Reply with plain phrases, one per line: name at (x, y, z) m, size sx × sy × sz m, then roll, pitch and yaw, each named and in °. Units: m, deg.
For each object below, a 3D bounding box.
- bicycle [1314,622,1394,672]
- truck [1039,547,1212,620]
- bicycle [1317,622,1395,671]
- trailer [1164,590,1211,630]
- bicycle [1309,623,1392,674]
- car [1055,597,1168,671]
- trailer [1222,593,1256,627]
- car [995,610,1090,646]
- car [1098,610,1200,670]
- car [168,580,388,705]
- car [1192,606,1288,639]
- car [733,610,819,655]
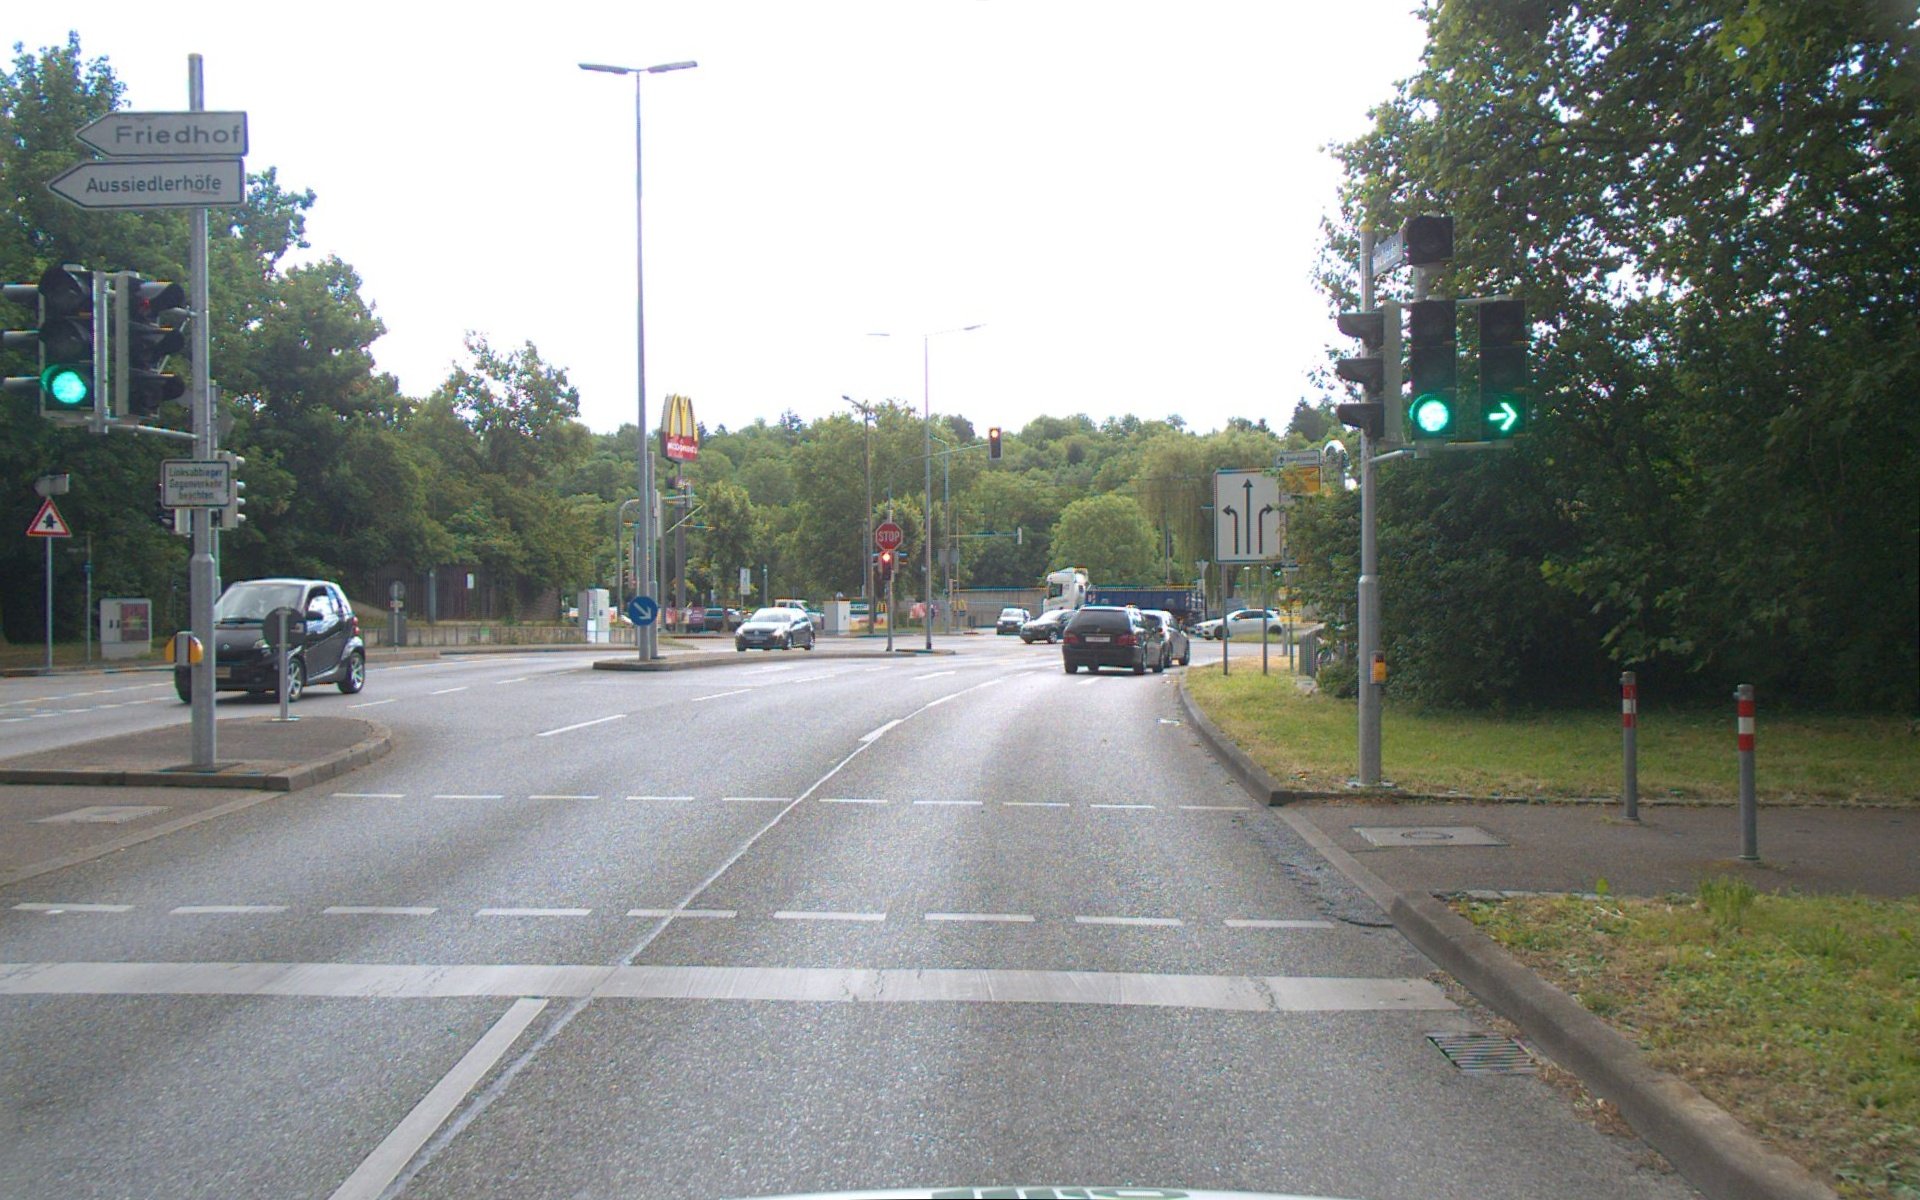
bicycle at (9.019, 1.080, 37.870) m, size 1.741 × 1.130 × 0.455 m, roll 0°, pitch -2°, yaw 17°
truck at (9.100, -0.824, 91.294) m, size 8.916 × 3.651 × 3.218 m, roll -2°, pitch -2°, yaw 24°
bicycle at (9.236, 1.089, 38.594) m, size 1.740 × 1.130 × 0.580 m, roll 0°, pitch -1°, yaw 12°
trailer at (15.571, 0.687, 112.983) m, size 2.303 × 2.628 × 4.921 m, roll -2°, pitch -2°, yaw 19°
bicycle at (8.746, 1.089, 37.077) m, size 1.745 × 1.130 × 0.425 m, roll -1°, pitch -2°, yaw 30°
car at (3.495, 0.807, 37.414) m, size 1.784 × 1.536 × 4.577 m, roll 1°, pitch -2°, yaw 15°
trailer at (19.366, 0.713, 114.651) m, size 1.951 × 2.222 × 4.003 m, roll -2°, pitch -1°, yaw 15°
car at (3.583, 1.208, 71.598) m, size 3.833 × 1.441 × 1.609 m, roll -1°, pitch -1°, yaw -25°
car at (5.236, 1.070, 45.390) m, size 1.691 × 1.557 × 4.148 m, roll -1°, pitch 0°, yaw 22°
car at (-9.035, 0.510, 22.163) m, size 1.536 × 1.553 × 3.190 m, roll 0°, pitch 1°, yaw 2°
car at (13.197, 1.051, 78.107) m, size 4.196 × 1.430 × 1.603 m, roll -1°, pitch -1°, yaw -7°
car at (-5.967, 1.038, 54.031) m, size 1.641 × 1.390 × 4.314 m, roll 0°, pitch 0°, yaw 10°
